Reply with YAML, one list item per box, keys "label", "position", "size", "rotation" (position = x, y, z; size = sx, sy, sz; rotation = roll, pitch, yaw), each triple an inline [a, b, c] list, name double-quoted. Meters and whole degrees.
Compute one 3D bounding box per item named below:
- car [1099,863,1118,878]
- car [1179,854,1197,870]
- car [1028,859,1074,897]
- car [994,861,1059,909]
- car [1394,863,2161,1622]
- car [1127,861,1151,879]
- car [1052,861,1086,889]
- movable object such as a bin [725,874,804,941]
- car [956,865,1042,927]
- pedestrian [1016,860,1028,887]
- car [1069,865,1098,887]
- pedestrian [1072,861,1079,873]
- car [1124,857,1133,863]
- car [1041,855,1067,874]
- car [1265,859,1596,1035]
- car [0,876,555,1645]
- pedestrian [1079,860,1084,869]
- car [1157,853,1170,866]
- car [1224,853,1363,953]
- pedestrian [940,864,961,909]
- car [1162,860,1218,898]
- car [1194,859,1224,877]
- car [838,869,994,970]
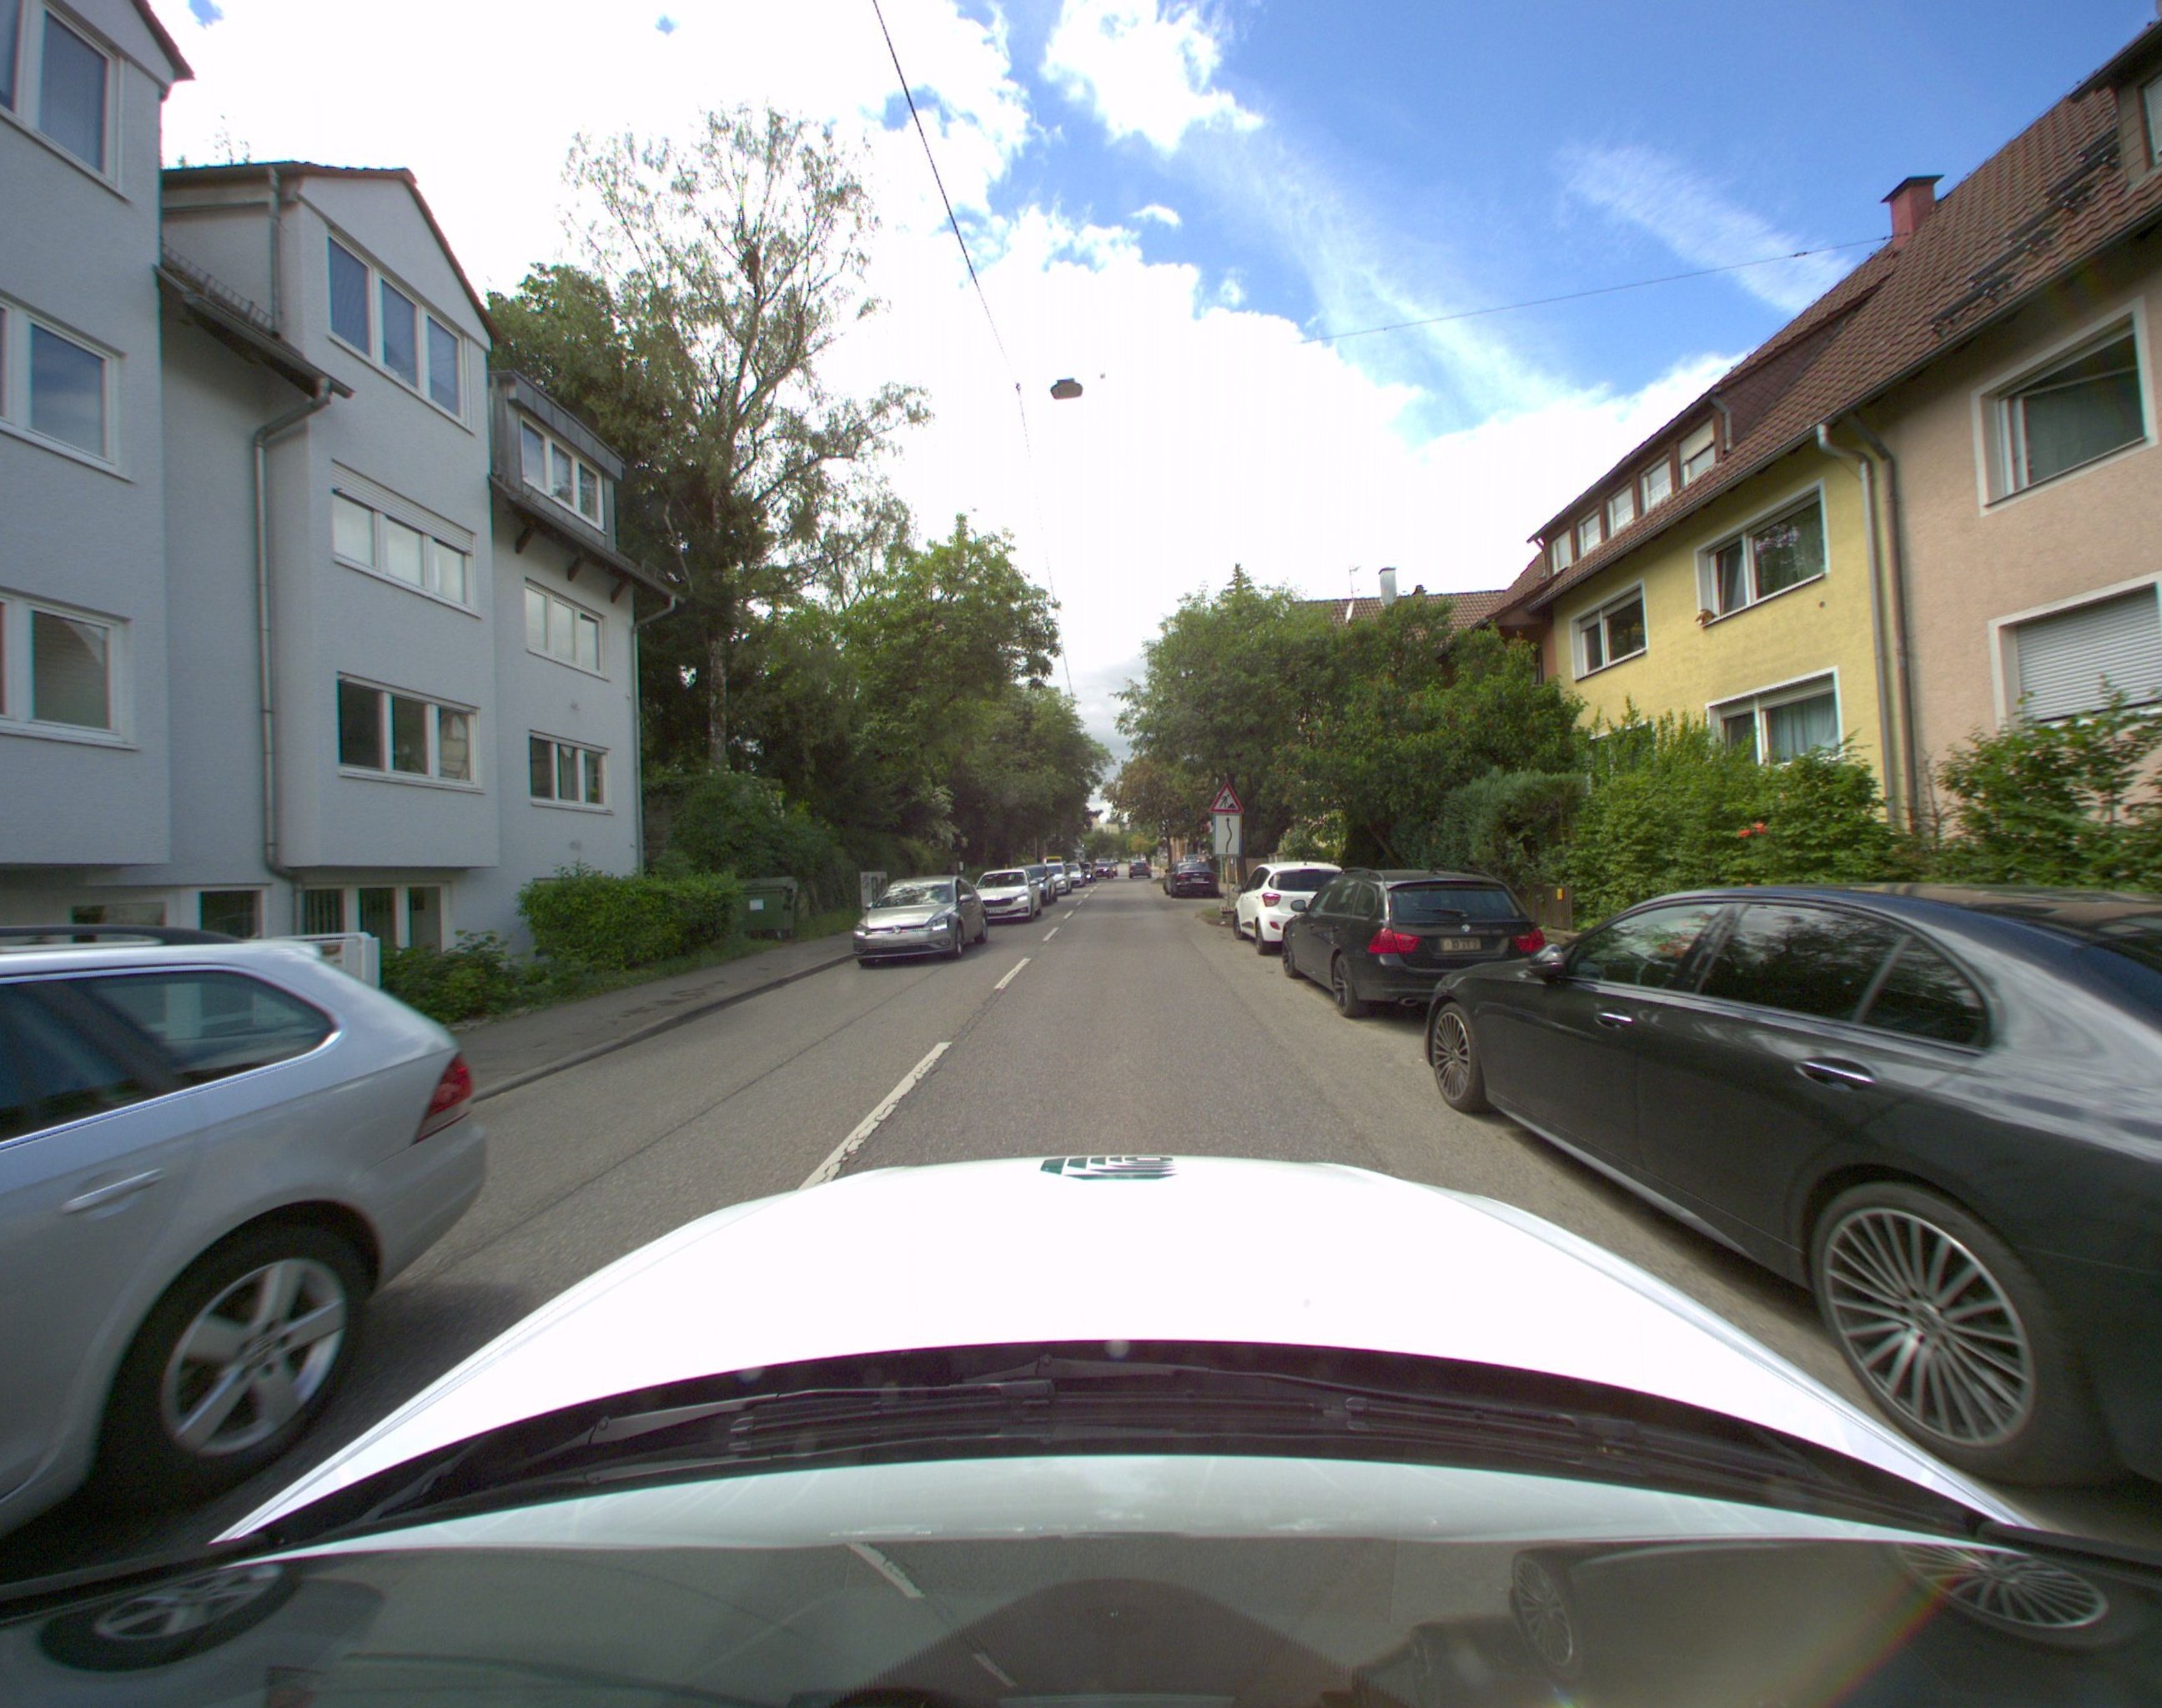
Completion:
- label: "car"
  position: [2.845, 1.658, 82.721]
  size: [1.683, 1.425, 3.441]
  rotation: [-2, -2, 4]
- label: "car"
  position: [12.357, 0.951, 94.205]
  size: [1.775, 1.634, 3.698]
  rotation: [-6, -1, 6]
- label: "car"
  position: [-1.431, 1.165, 40.638]
  size: [1.779, 1.648, 4.494]
  rotation: [-4, -1, 3]
- label: "car"
  position: [-2.044, 1.130, 31.529]
  size: [1.920, 1.546, 4.089]
  rotation: [-5, -1, 2]
- label: "car"
  position: [3.015, 0.768, 3.435]
  size: [1.727, 1.429, 4.885]
  rotation: [0, 0, 3]
- label: "car"
  position: [5.108, 1.343, 70.967]
  size: [1.966, 1.513, 4.273]
  rotation: [1, 0, 5]
- label: "car"
  position: [-0.702, 1.280, 51.690]
  size: [1.777, 1.592, 4.157]
  rotation: [-4, -1, 3]
- label: "movable object such as a bin"
  position: [-7.235, 1.206, 18.690]
  size: [1.327, 1.427, 1.212]
  rotation: [-2, -2, -4]
- label: "car"
  position: [-2.206, 1.100, 22.966]
  size: [1.753, 1.439, 3.972]
  rotation: [-4, -1, 2]
- label: "pedestrian"
  position: [-3.966, 1.291, 54.705]
  size: [0.712, 1.762, 1.121]
  rotation: [-2, -2, -3]
- label: "car"
  position: [0.220, 1.659, 62.958]
  size: [1.781, 1.542, 4.268]
  rotation: [-4, -1, 4]
- label: "pedestrian"
  position: [-0.724, 1.670, 102.799]
  size: [0.704, 1.439, 0.711]
  rotation: [-2, -2, -9]
- label: "car"
  position: [12.973, 1.548, 222.112]
  size: [2.101, 1.501, 4.273]
  rotation: [-3, -1, 5]
- label: "car"
  position: [-2.925, 1.185, 88.688]
  size: [2.135, 1.981, 4.937]
  rotation: [-2, -2, 5]
- label: "car"
  position: [3.480, 0.816, 9.223]
  size: [1.985, 1.423, 4.593]
  rotation: [-3, -1, 4]
- label: "car"
  position: [-3.081, 0.886, 1.076]
  size: [1.722, 1.502, 4.377]
  rotation: [-5, -1, 2]
- label: "pedestrian"
  position: [0.128, 1.831, 139.518]
  size: [0.701, 1.439, 0.715]
  rotation: [-2, -2, 6]
- label: "car"
  position: [13.464, 0.976, 133.320]
  size: [1.984, 2.014, 4.004]
  rotation: [-2, -2, 4]
- label: "car"
  position: [3.675, 0.797, 14.734]
  size: [1.615, 1.507, 3.781]
  rotation: [-3, -1, 2]
- label: "pedestrian"
  position: [-4.965, 1.222, 31.034]
  size: [0.651, 1.667, 0.931]
  rotation: [-2, -2, -3]
- label: "car"
  position: [4.428, 0.967, 33.683]
  size: [1.795, 1.445, 4.888]
  rotation: [0, -1, 2]
- label: "car"
  position: [10.126, 1.089, 64.837]
  size: [1.718, 1.316, 4.267]
  rotation: [-2, -1, 1]
- label: "car"
  position: [-2.874, 1.091, 15.182]
  size: [1.702, 1.455, 4.290]
  rotation: [-5, -1, 3]
